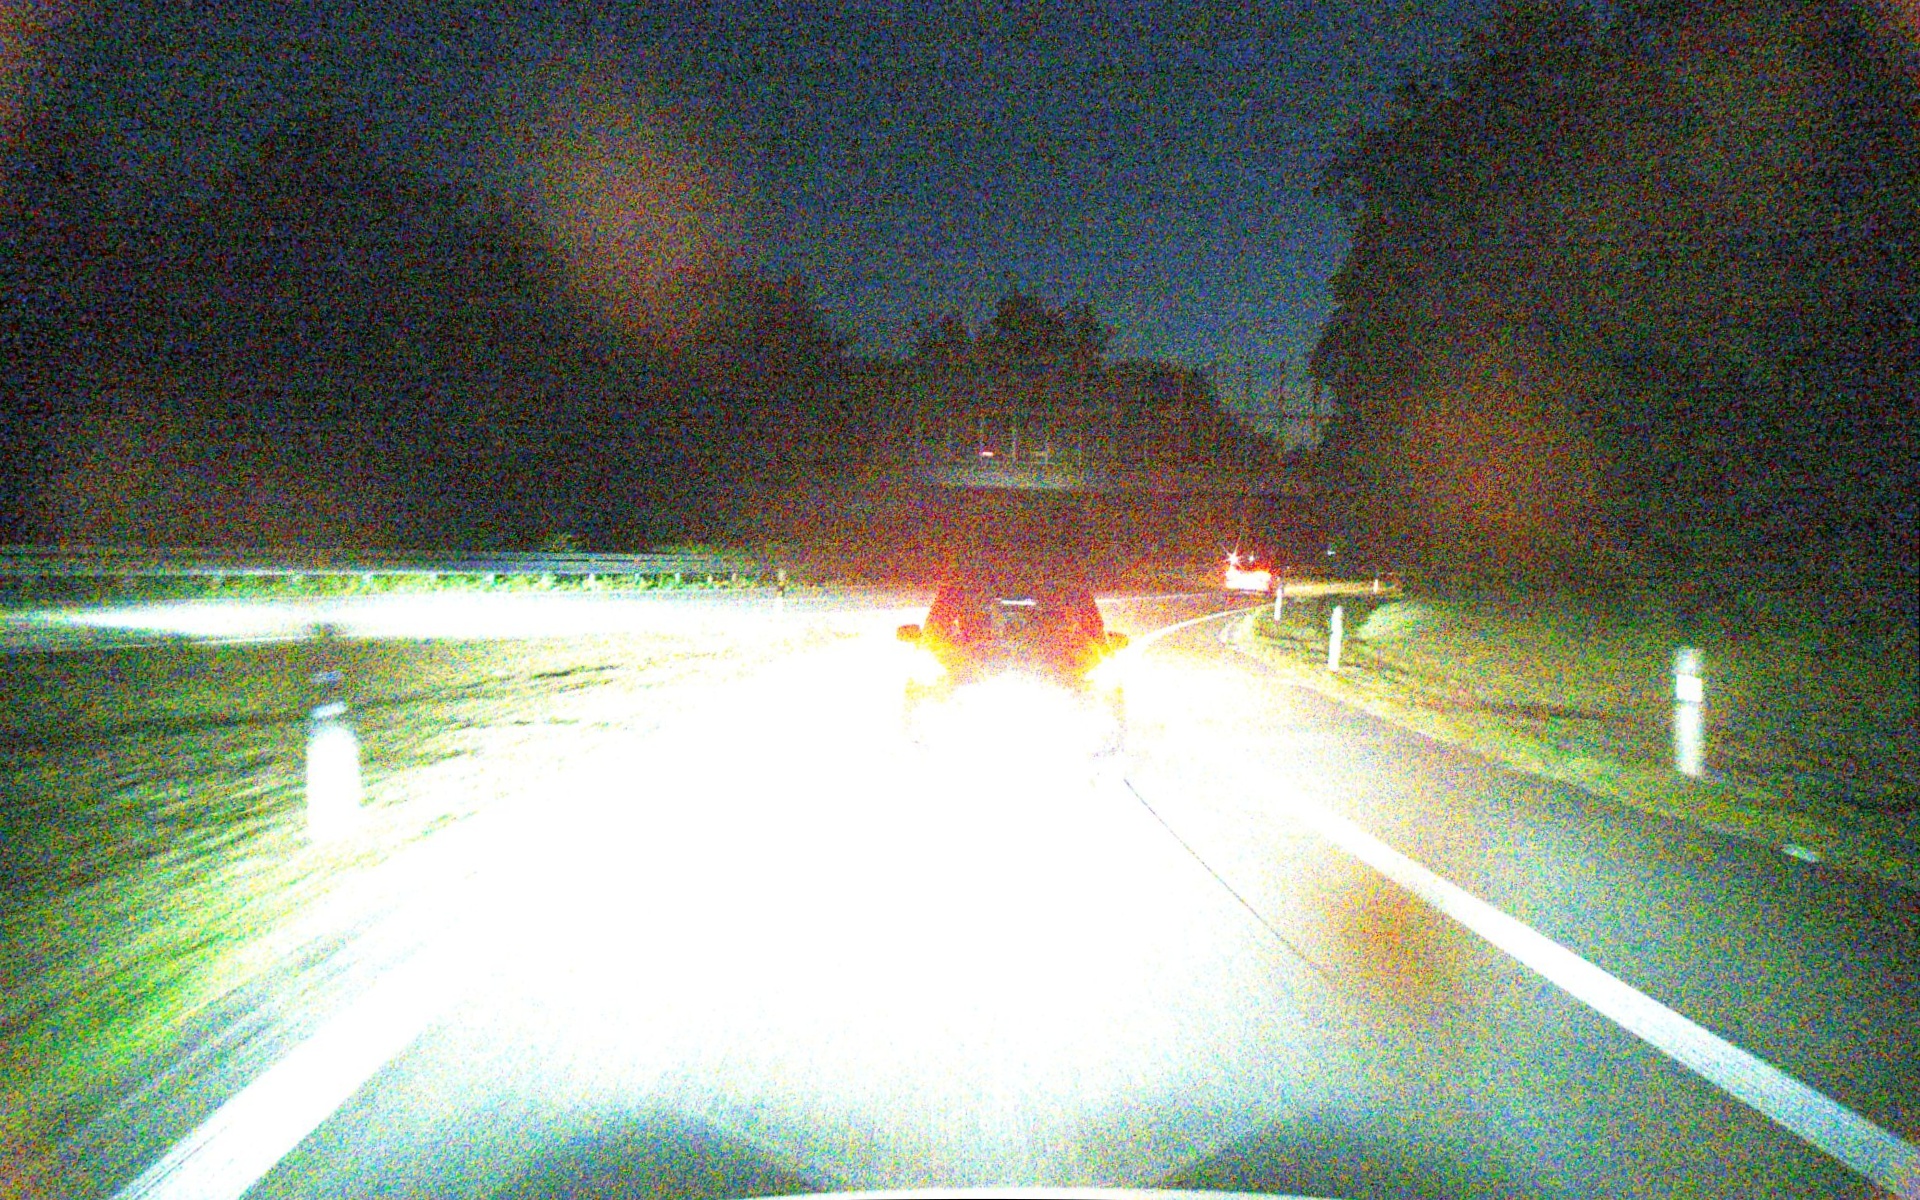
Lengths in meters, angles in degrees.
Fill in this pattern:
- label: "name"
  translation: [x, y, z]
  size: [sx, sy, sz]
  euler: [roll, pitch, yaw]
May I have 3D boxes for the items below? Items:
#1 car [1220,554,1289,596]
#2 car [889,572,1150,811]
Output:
- label: "car"
  translation: [11.887, -0.980, 66.566]
  size: [1.911, 1.565, 4.241]
  euler: [-1, 0, 21]
- label: "car"
  translation: [0.428, 0.568, 12.911]
  size: [1.656, 1.503, 4.001]
  euler: [3, 1, 1]
